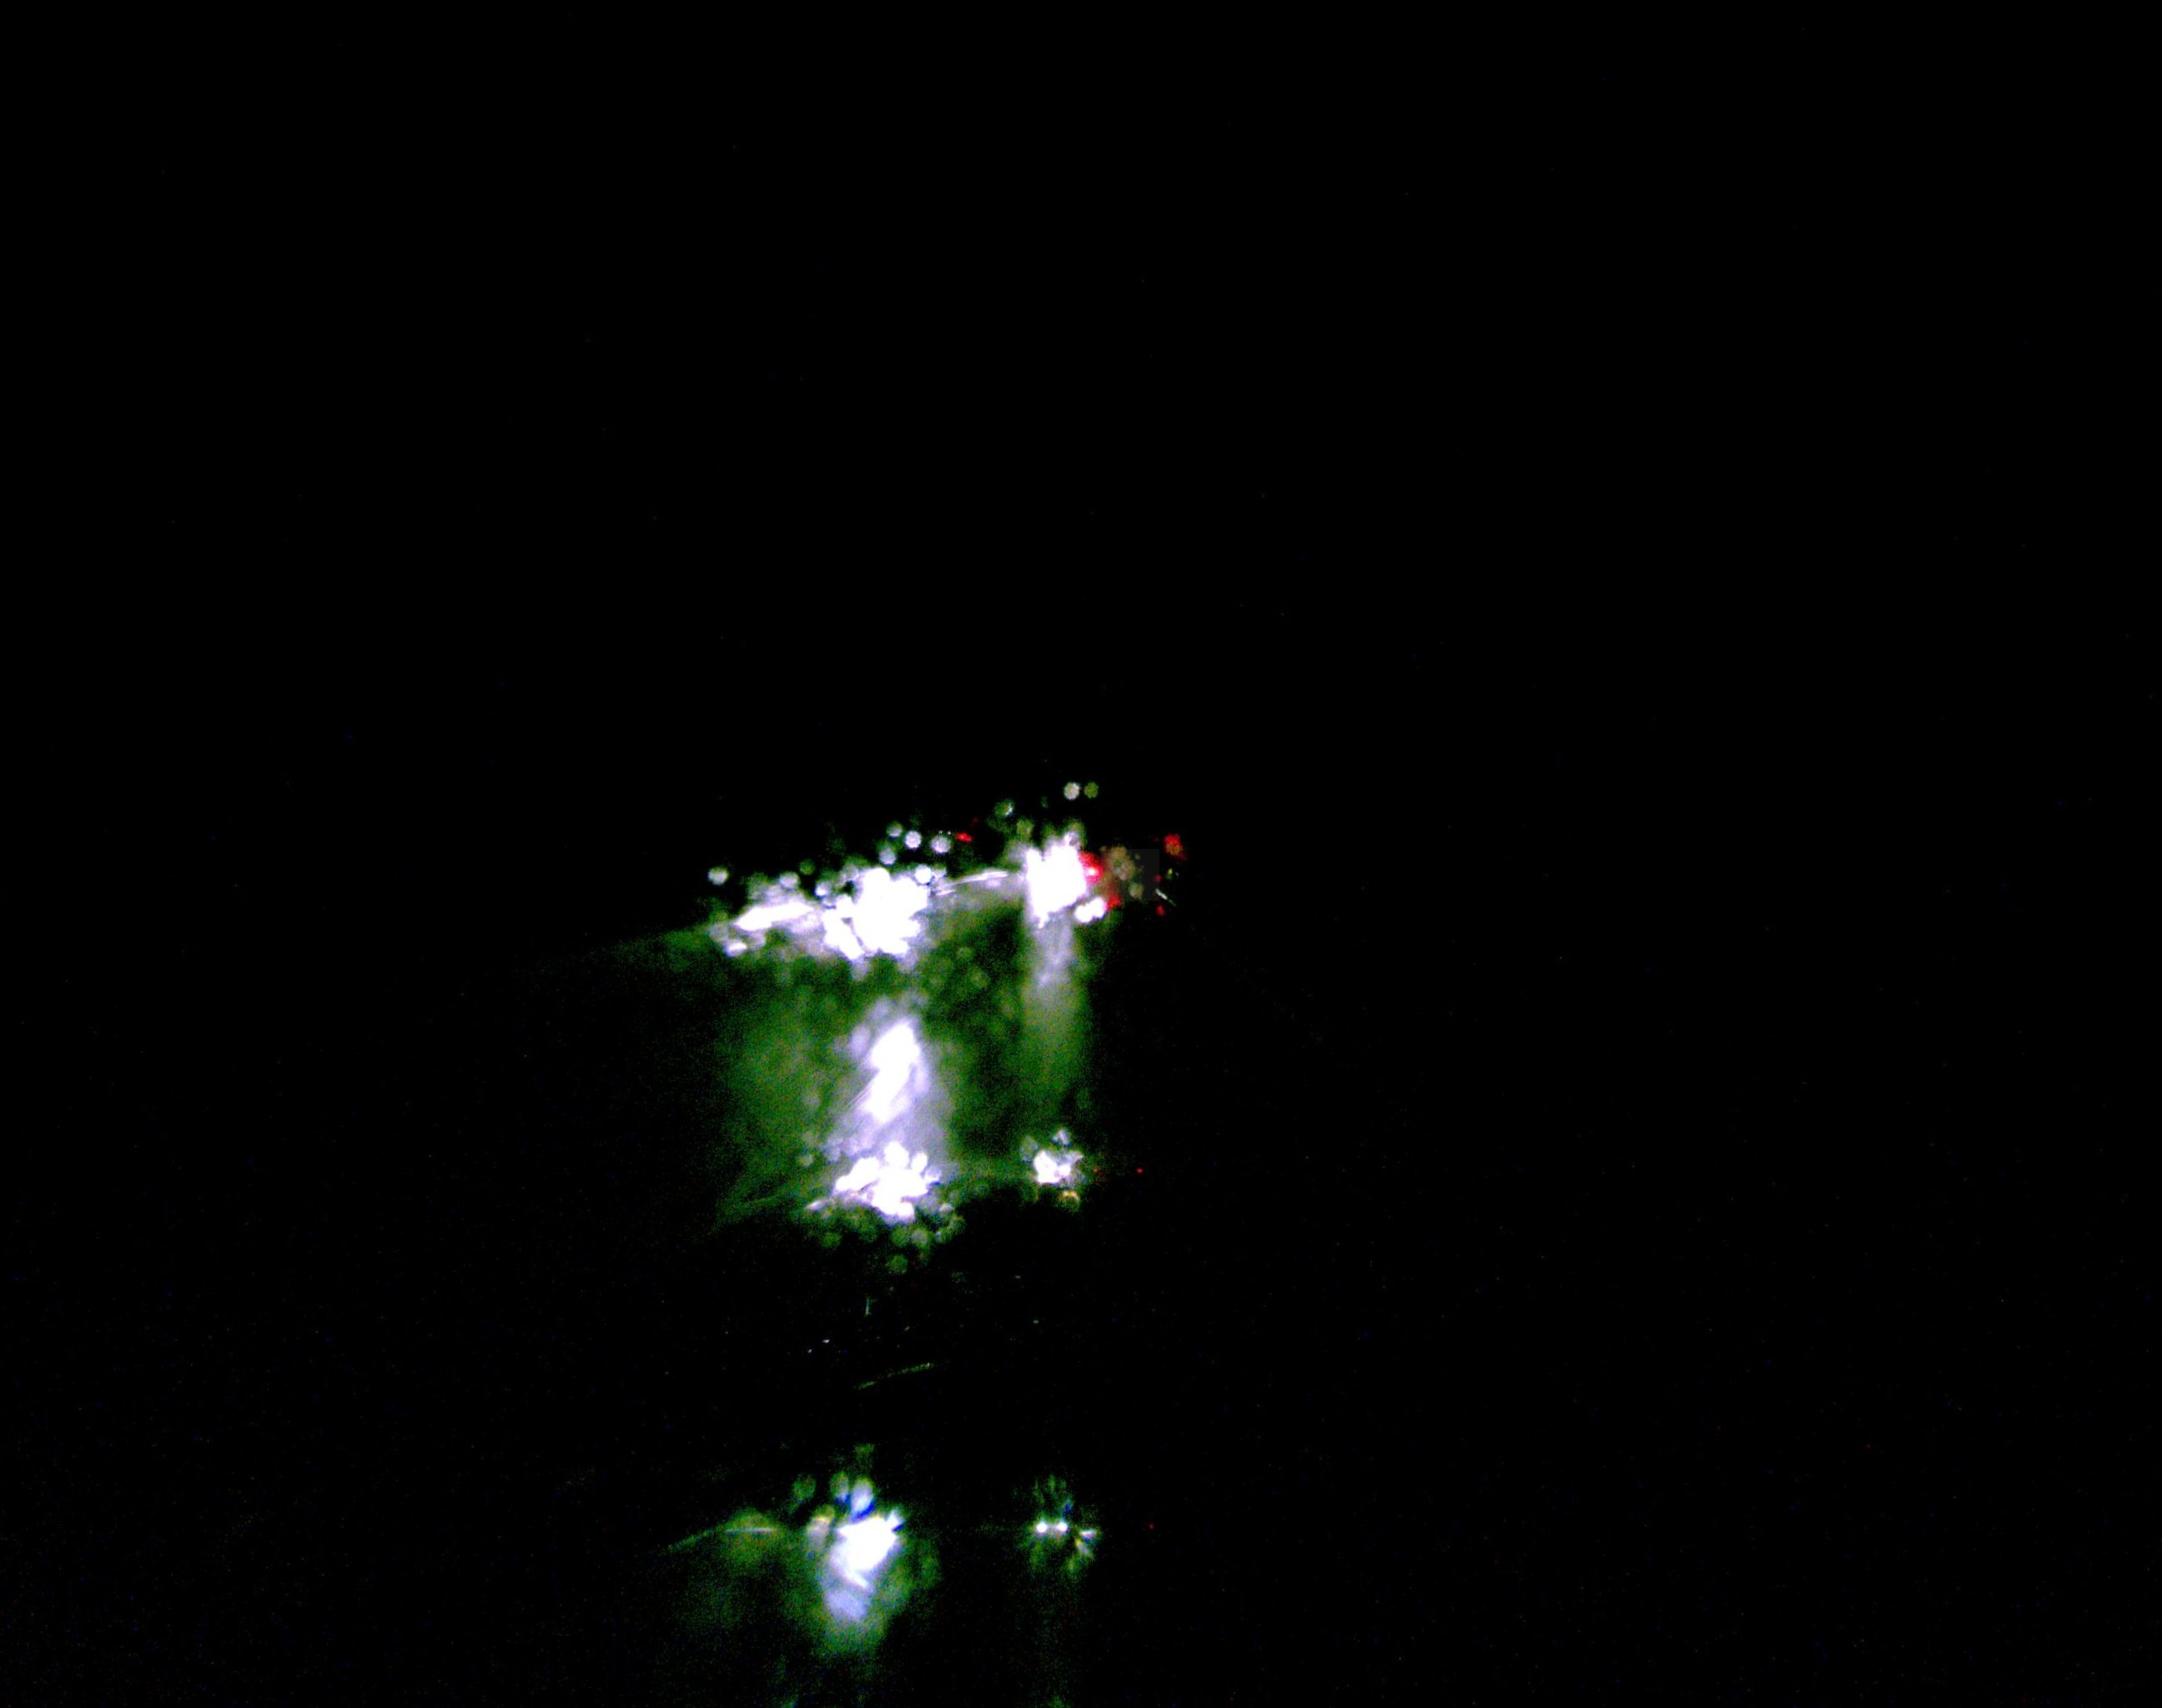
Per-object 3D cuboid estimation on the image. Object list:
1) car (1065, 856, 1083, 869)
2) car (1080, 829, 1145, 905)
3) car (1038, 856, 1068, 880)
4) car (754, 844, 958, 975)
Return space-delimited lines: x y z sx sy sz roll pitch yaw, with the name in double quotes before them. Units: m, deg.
"car" -0.818 1.084 99.399 1.912 1.471 4.577 -3 -1 3
"car" 1.140 0.387 29.759 2.173 2.557 4.510 0 2 2
"car" -1.887 0.924 55.973 1.766 1.510 3.691 -2 0 2
"car" -3.264 0.720 12.744 1.852 1.637 4.145 -2 0 2
